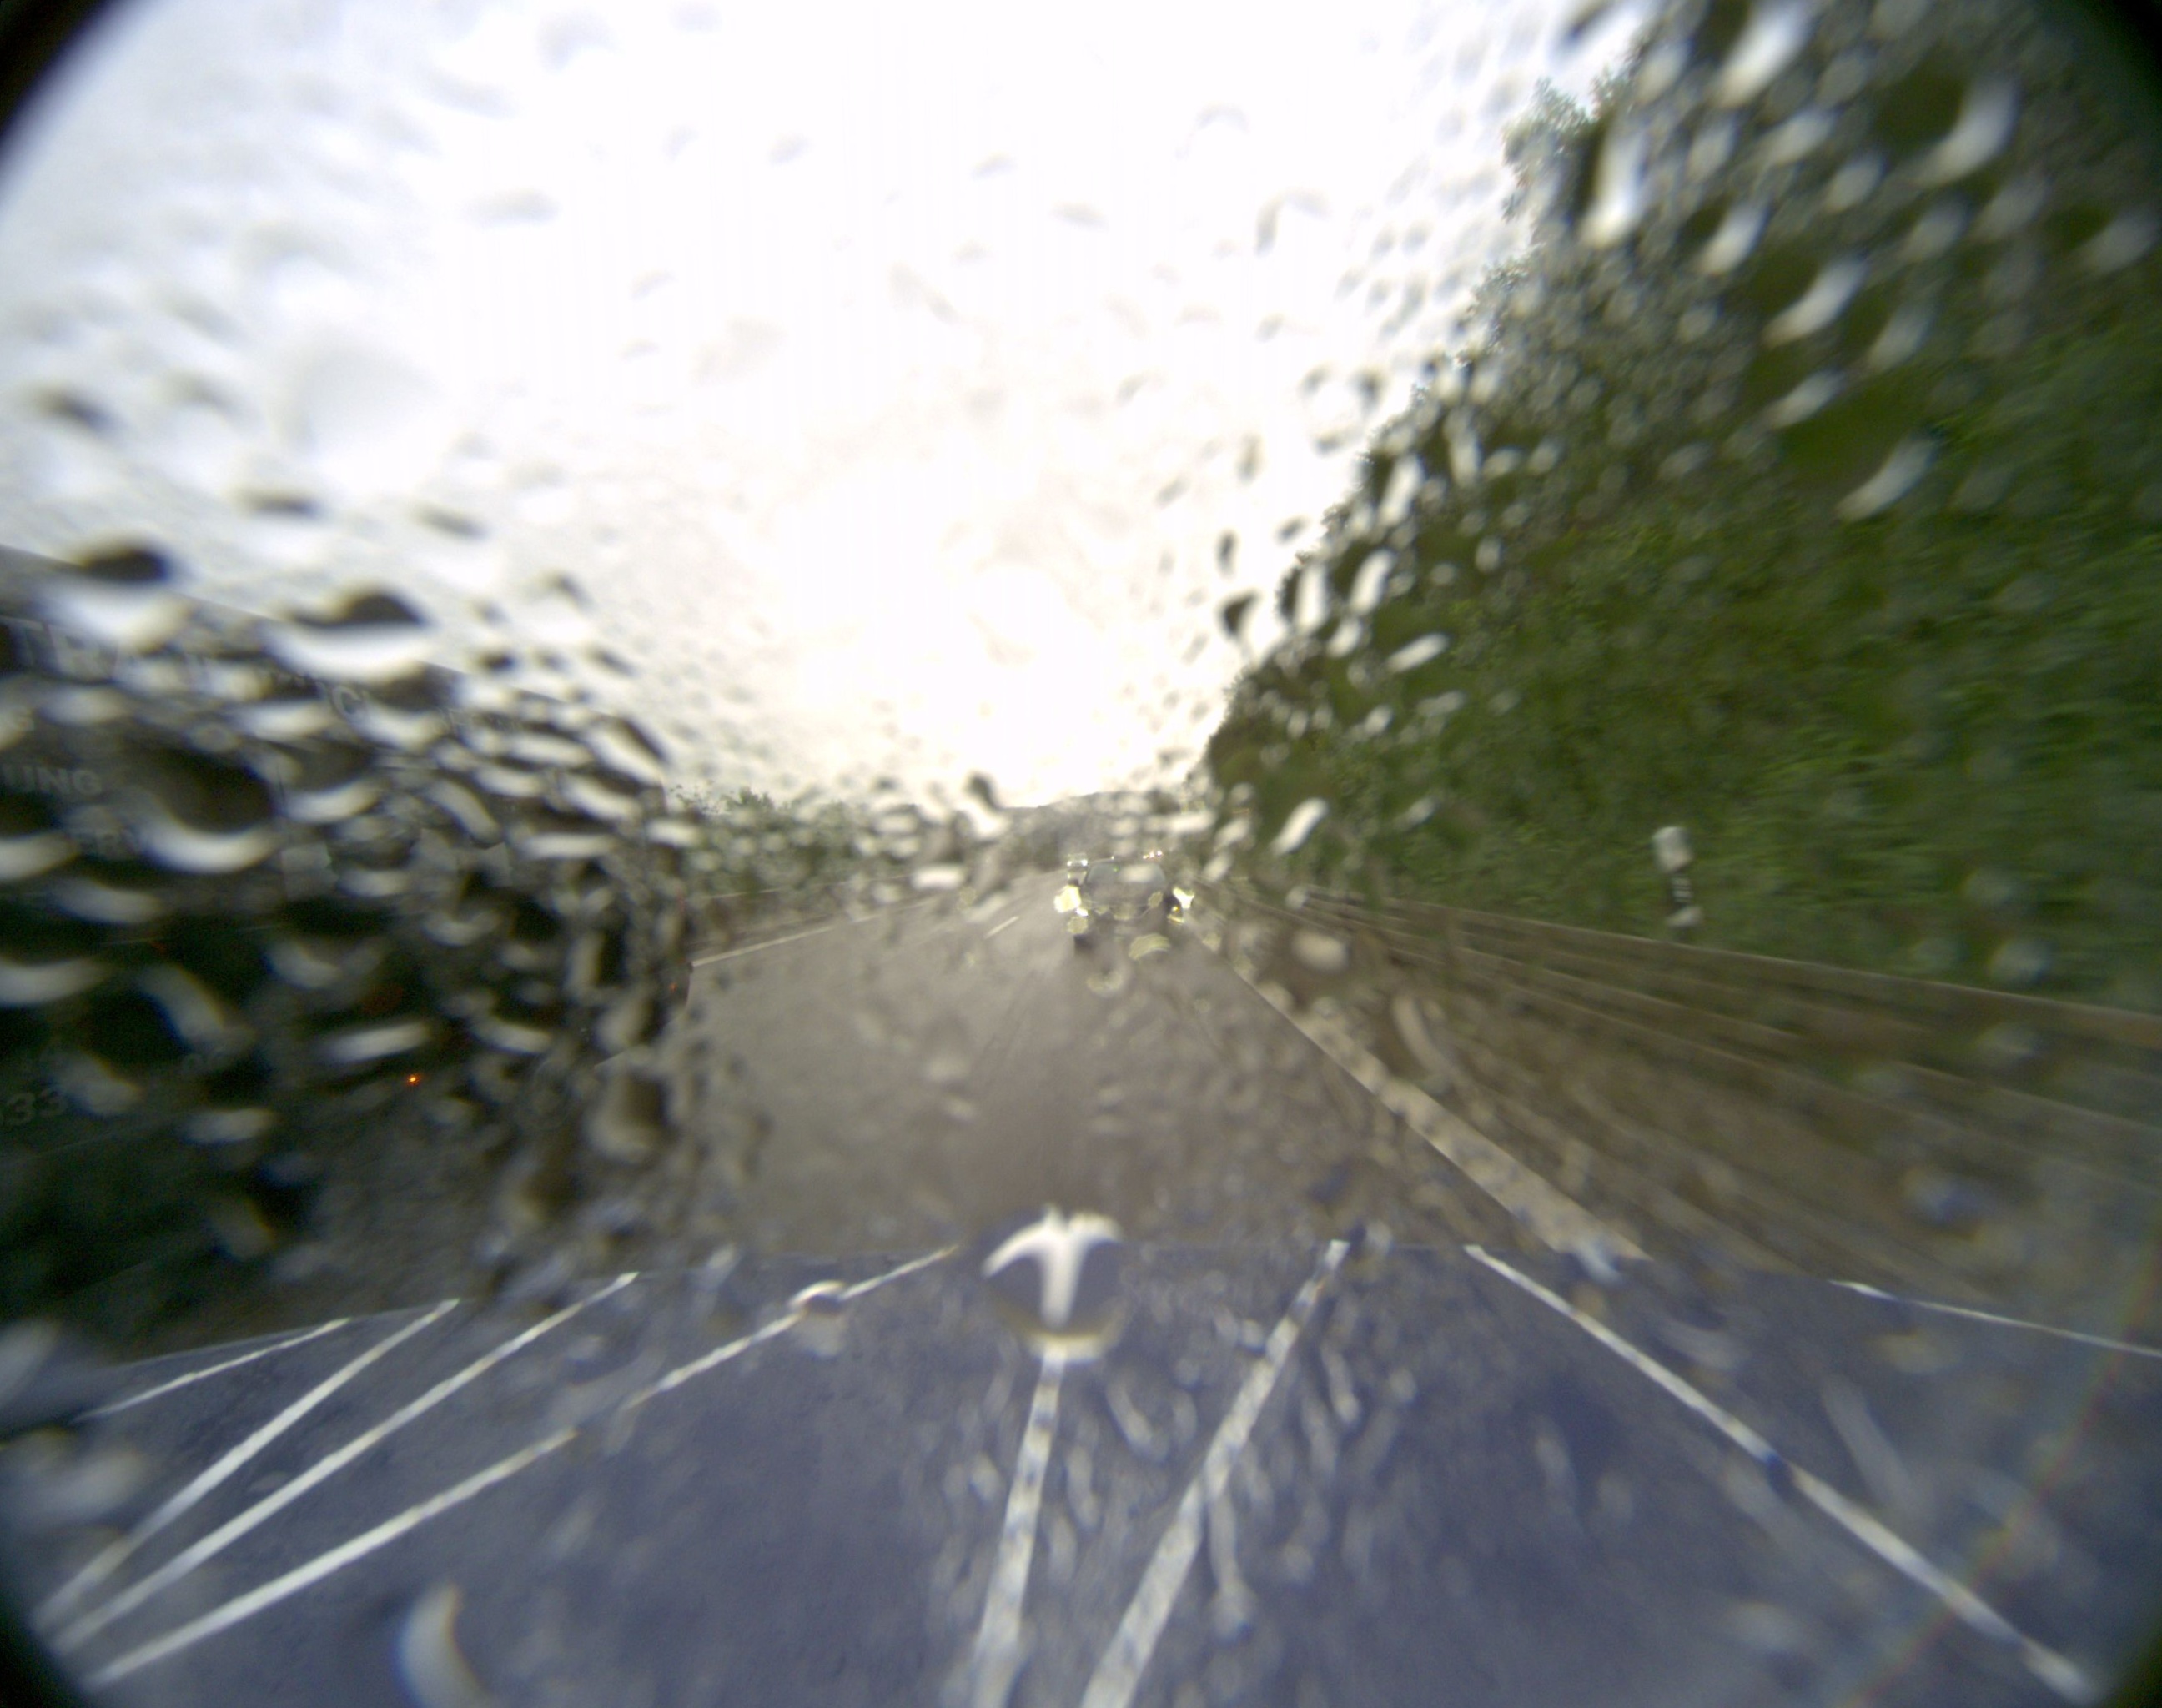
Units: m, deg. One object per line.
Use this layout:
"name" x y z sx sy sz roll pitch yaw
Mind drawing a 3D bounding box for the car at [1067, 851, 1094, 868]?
"car" -0.035 0.442 67.444 1.990 1.407 4.565 -1 0 5

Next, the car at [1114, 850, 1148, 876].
"car" 2.850 0.478 42.468 1.712 1.316 3.946 -3 0 6

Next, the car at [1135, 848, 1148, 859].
"car" 8.456 -0.104 106.809 1.657 1.535 3.664 -1 0 3

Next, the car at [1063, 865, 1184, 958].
"car" 0.693 0.919 13.822 1.839 1.316 4.135 -2 0 1

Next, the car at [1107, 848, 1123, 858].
"car" 5.090 -0.139 112.853 1.990 1.407 4.565 -3 0 6

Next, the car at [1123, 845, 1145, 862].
"car" 5.087 -0.054 72.746 1.905 1.545 4.566 -1 0 6

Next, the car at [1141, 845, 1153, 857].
"car" 10.483 -0.434 120.949 1.591 1.895 3.753 -1 1 0

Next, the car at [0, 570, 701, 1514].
"car" -3.851 0.510 2.225 1.998 2.479 6.704 -2 0 0

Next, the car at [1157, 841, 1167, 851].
"car" 16.944 -1.746 158.875 1.908 2.002 4.000 -2 1 4
